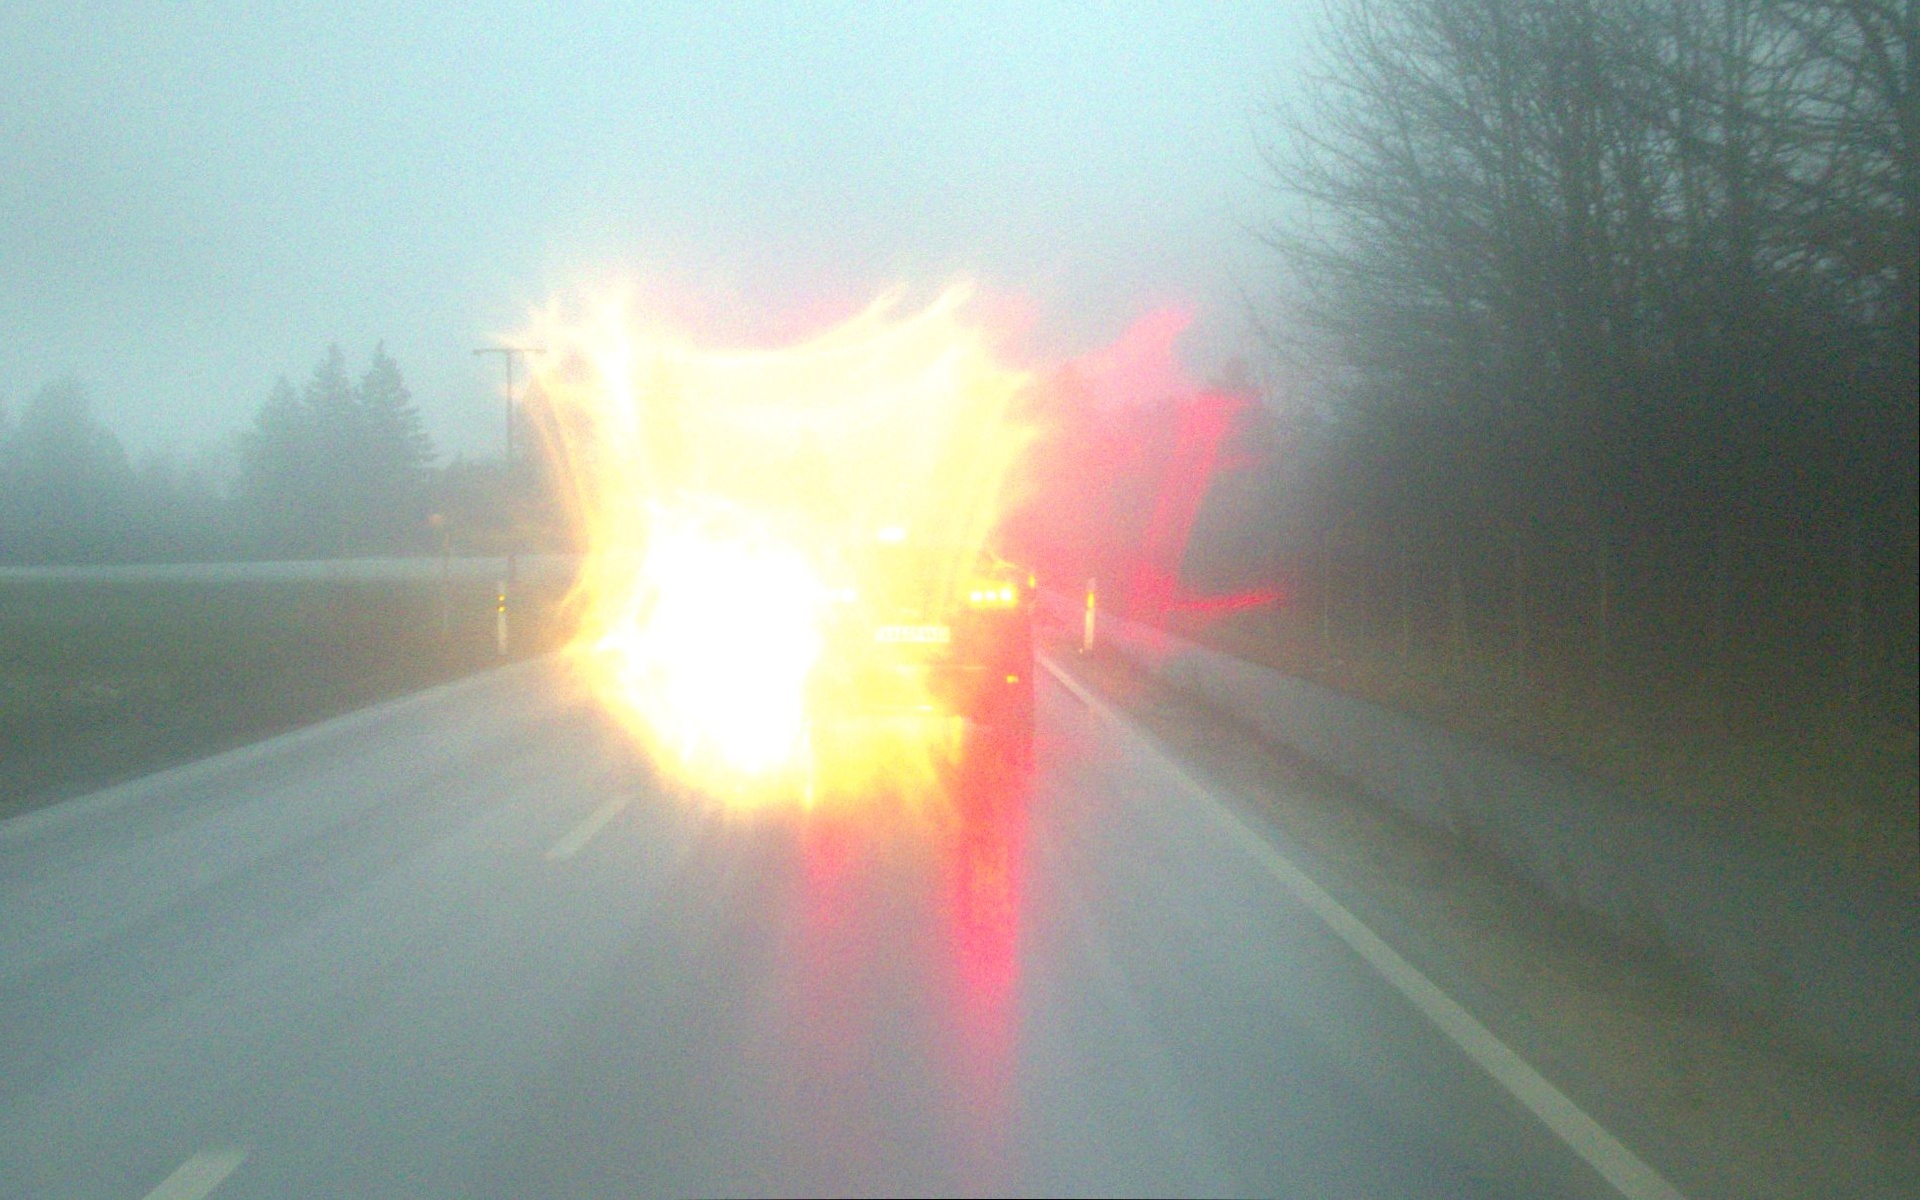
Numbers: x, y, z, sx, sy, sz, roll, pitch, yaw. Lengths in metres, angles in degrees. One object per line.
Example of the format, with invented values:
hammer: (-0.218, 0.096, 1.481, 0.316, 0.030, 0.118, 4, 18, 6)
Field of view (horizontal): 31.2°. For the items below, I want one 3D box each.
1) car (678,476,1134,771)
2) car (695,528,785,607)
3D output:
car: (-0.389, 0.082, 27.365, 3.164, 2.028, 6.852, 0, 1, 0)
car: (-4.956, -0.739, 77.865, 1.839, 1.715, 3.956, 1, 1, -1)
